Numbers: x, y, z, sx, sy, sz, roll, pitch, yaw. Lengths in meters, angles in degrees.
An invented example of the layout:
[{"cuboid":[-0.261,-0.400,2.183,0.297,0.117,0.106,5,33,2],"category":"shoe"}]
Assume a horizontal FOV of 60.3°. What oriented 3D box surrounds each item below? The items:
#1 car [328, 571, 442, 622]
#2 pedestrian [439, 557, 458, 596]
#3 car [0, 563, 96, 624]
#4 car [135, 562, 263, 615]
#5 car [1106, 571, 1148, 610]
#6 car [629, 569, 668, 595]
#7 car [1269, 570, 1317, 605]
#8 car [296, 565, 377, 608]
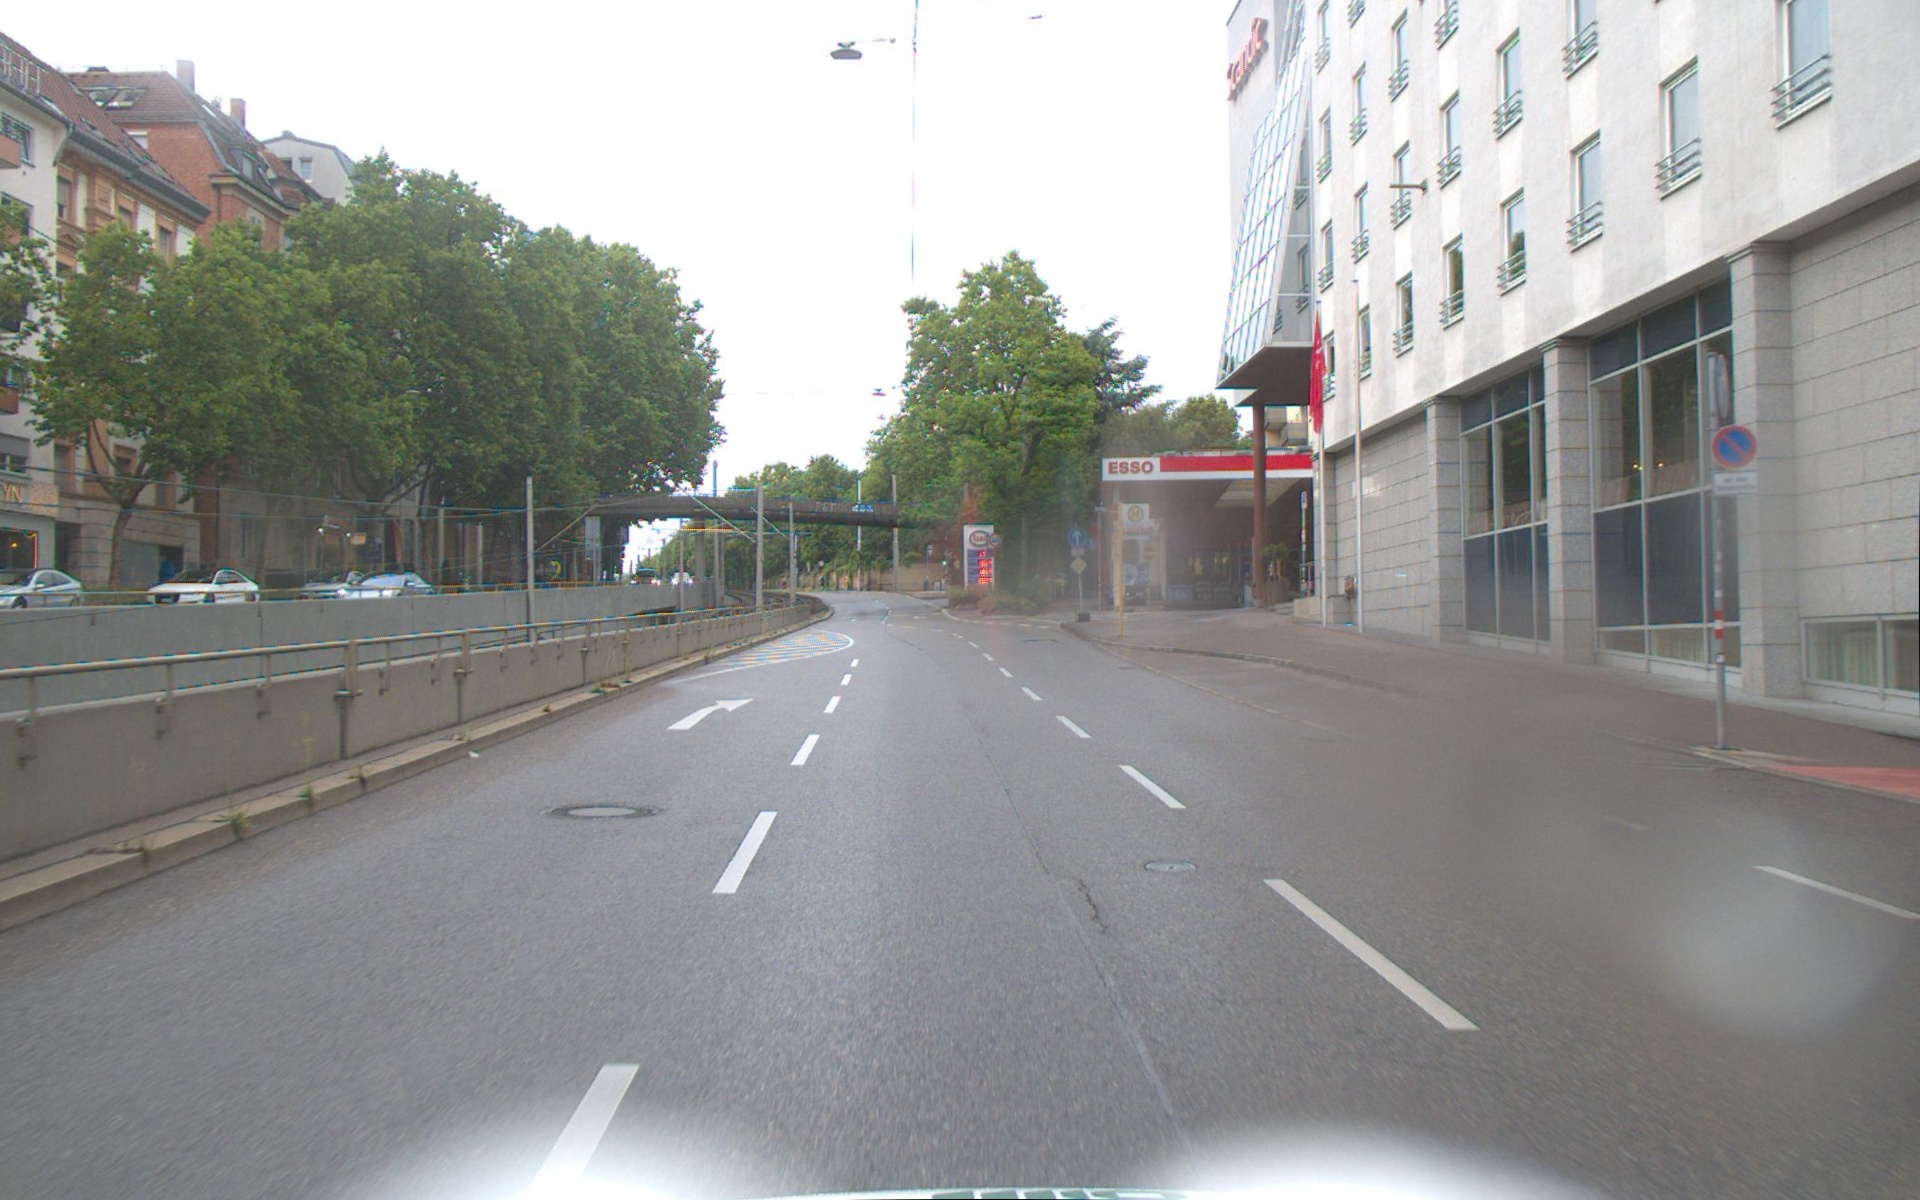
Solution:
[{"cuboid":[-18.781,-0.141,54.251,1.985,1.536,4.883,1,1,0],"category":"car"},{"cuboid":[-27.537,-1.265,89.012,0.655,2.049,0.935,1,-1,1],"category":"pedestrian"},{"cuboid":[-25.255,-0.208,44.526,1.757,1.536,4.208,1,1,0],"category":"car"},{"cuboid":[-25.262,-0.404,55.133,1.888,1.629,5.199,1,1,-1],"category":"car"},{"cuboid":[7.561,-0.430,74.687,1.735,1.652,3.869,-2,0,7],"category":"car"},{"cuboid":[-23.500,-1.372,124.974,1.916,1.885,4.968,1,1,0],"category":"car"},{"cuboid":[15.629,-0.555,77.728,1.756,1.537,4.002,1,-1,5],"category":"car"},{"cuboid":[-25.104,-0.538,66.692,1.758,1.639,4.111,1,1,-1],"category":"car"}]
